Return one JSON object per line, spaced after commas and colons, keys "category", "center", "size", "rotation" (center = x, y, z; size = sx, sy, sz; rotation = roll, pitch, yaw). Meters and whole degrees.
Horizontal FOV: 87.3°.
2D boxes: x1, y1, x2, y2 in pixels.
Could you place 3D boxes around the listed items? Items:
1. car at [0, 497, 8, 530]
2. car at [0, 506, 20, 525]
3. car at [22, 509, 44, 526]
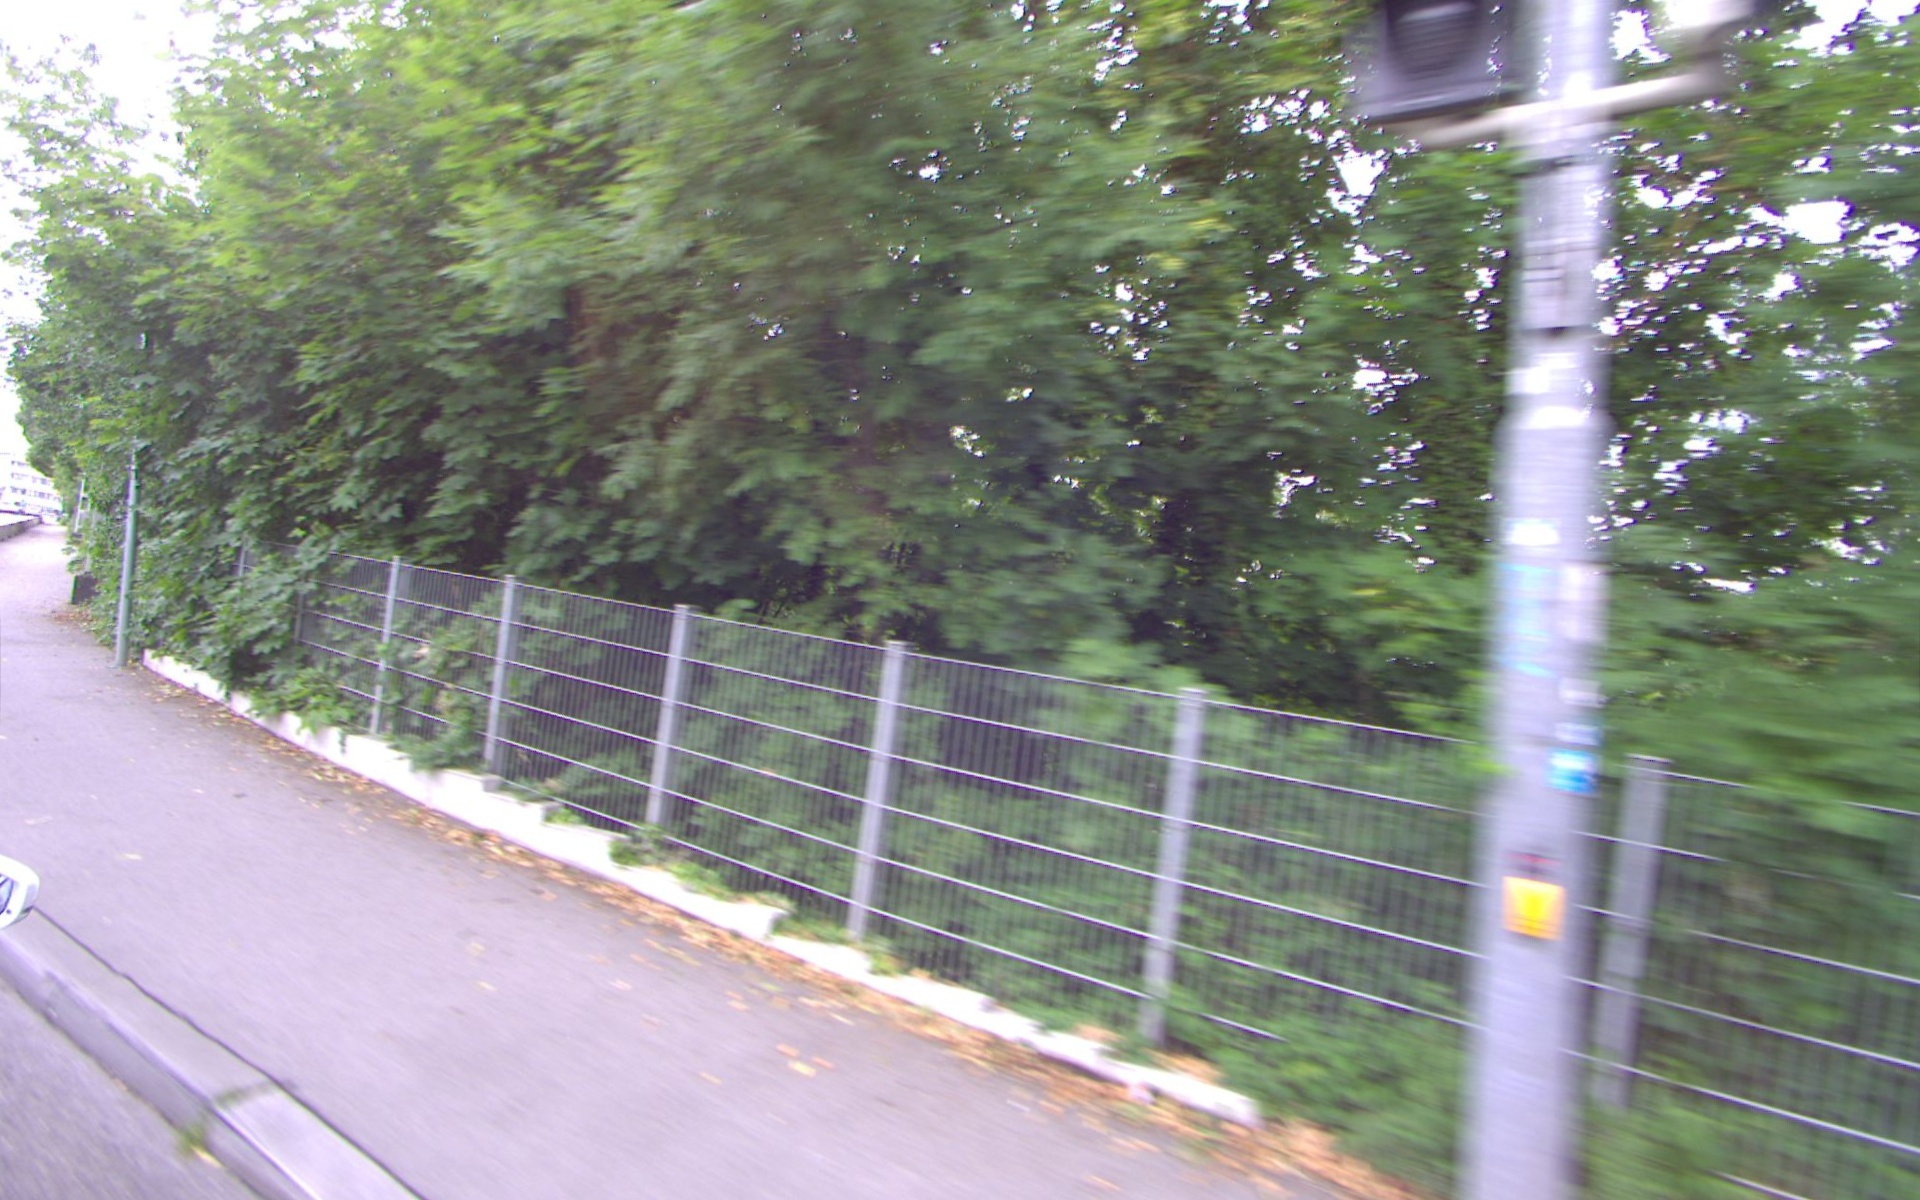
{"category": "car", "center": [-46.572, -4.242, 47.792], "size": [1.702, 1.480, 3.954], "rotation": [10, -4, -42]}
{"category": "car", "center": [-121.859, -10.843, 128.747], "size": [1.988, 2.036, 3.955], "rotation": [10, -4, -41]}
{"category": "car", "center": [-133.761, -11.921, 145.190], "size": [1.988, 2.036, 3.955], "rotation": [10, -4, -41]}
